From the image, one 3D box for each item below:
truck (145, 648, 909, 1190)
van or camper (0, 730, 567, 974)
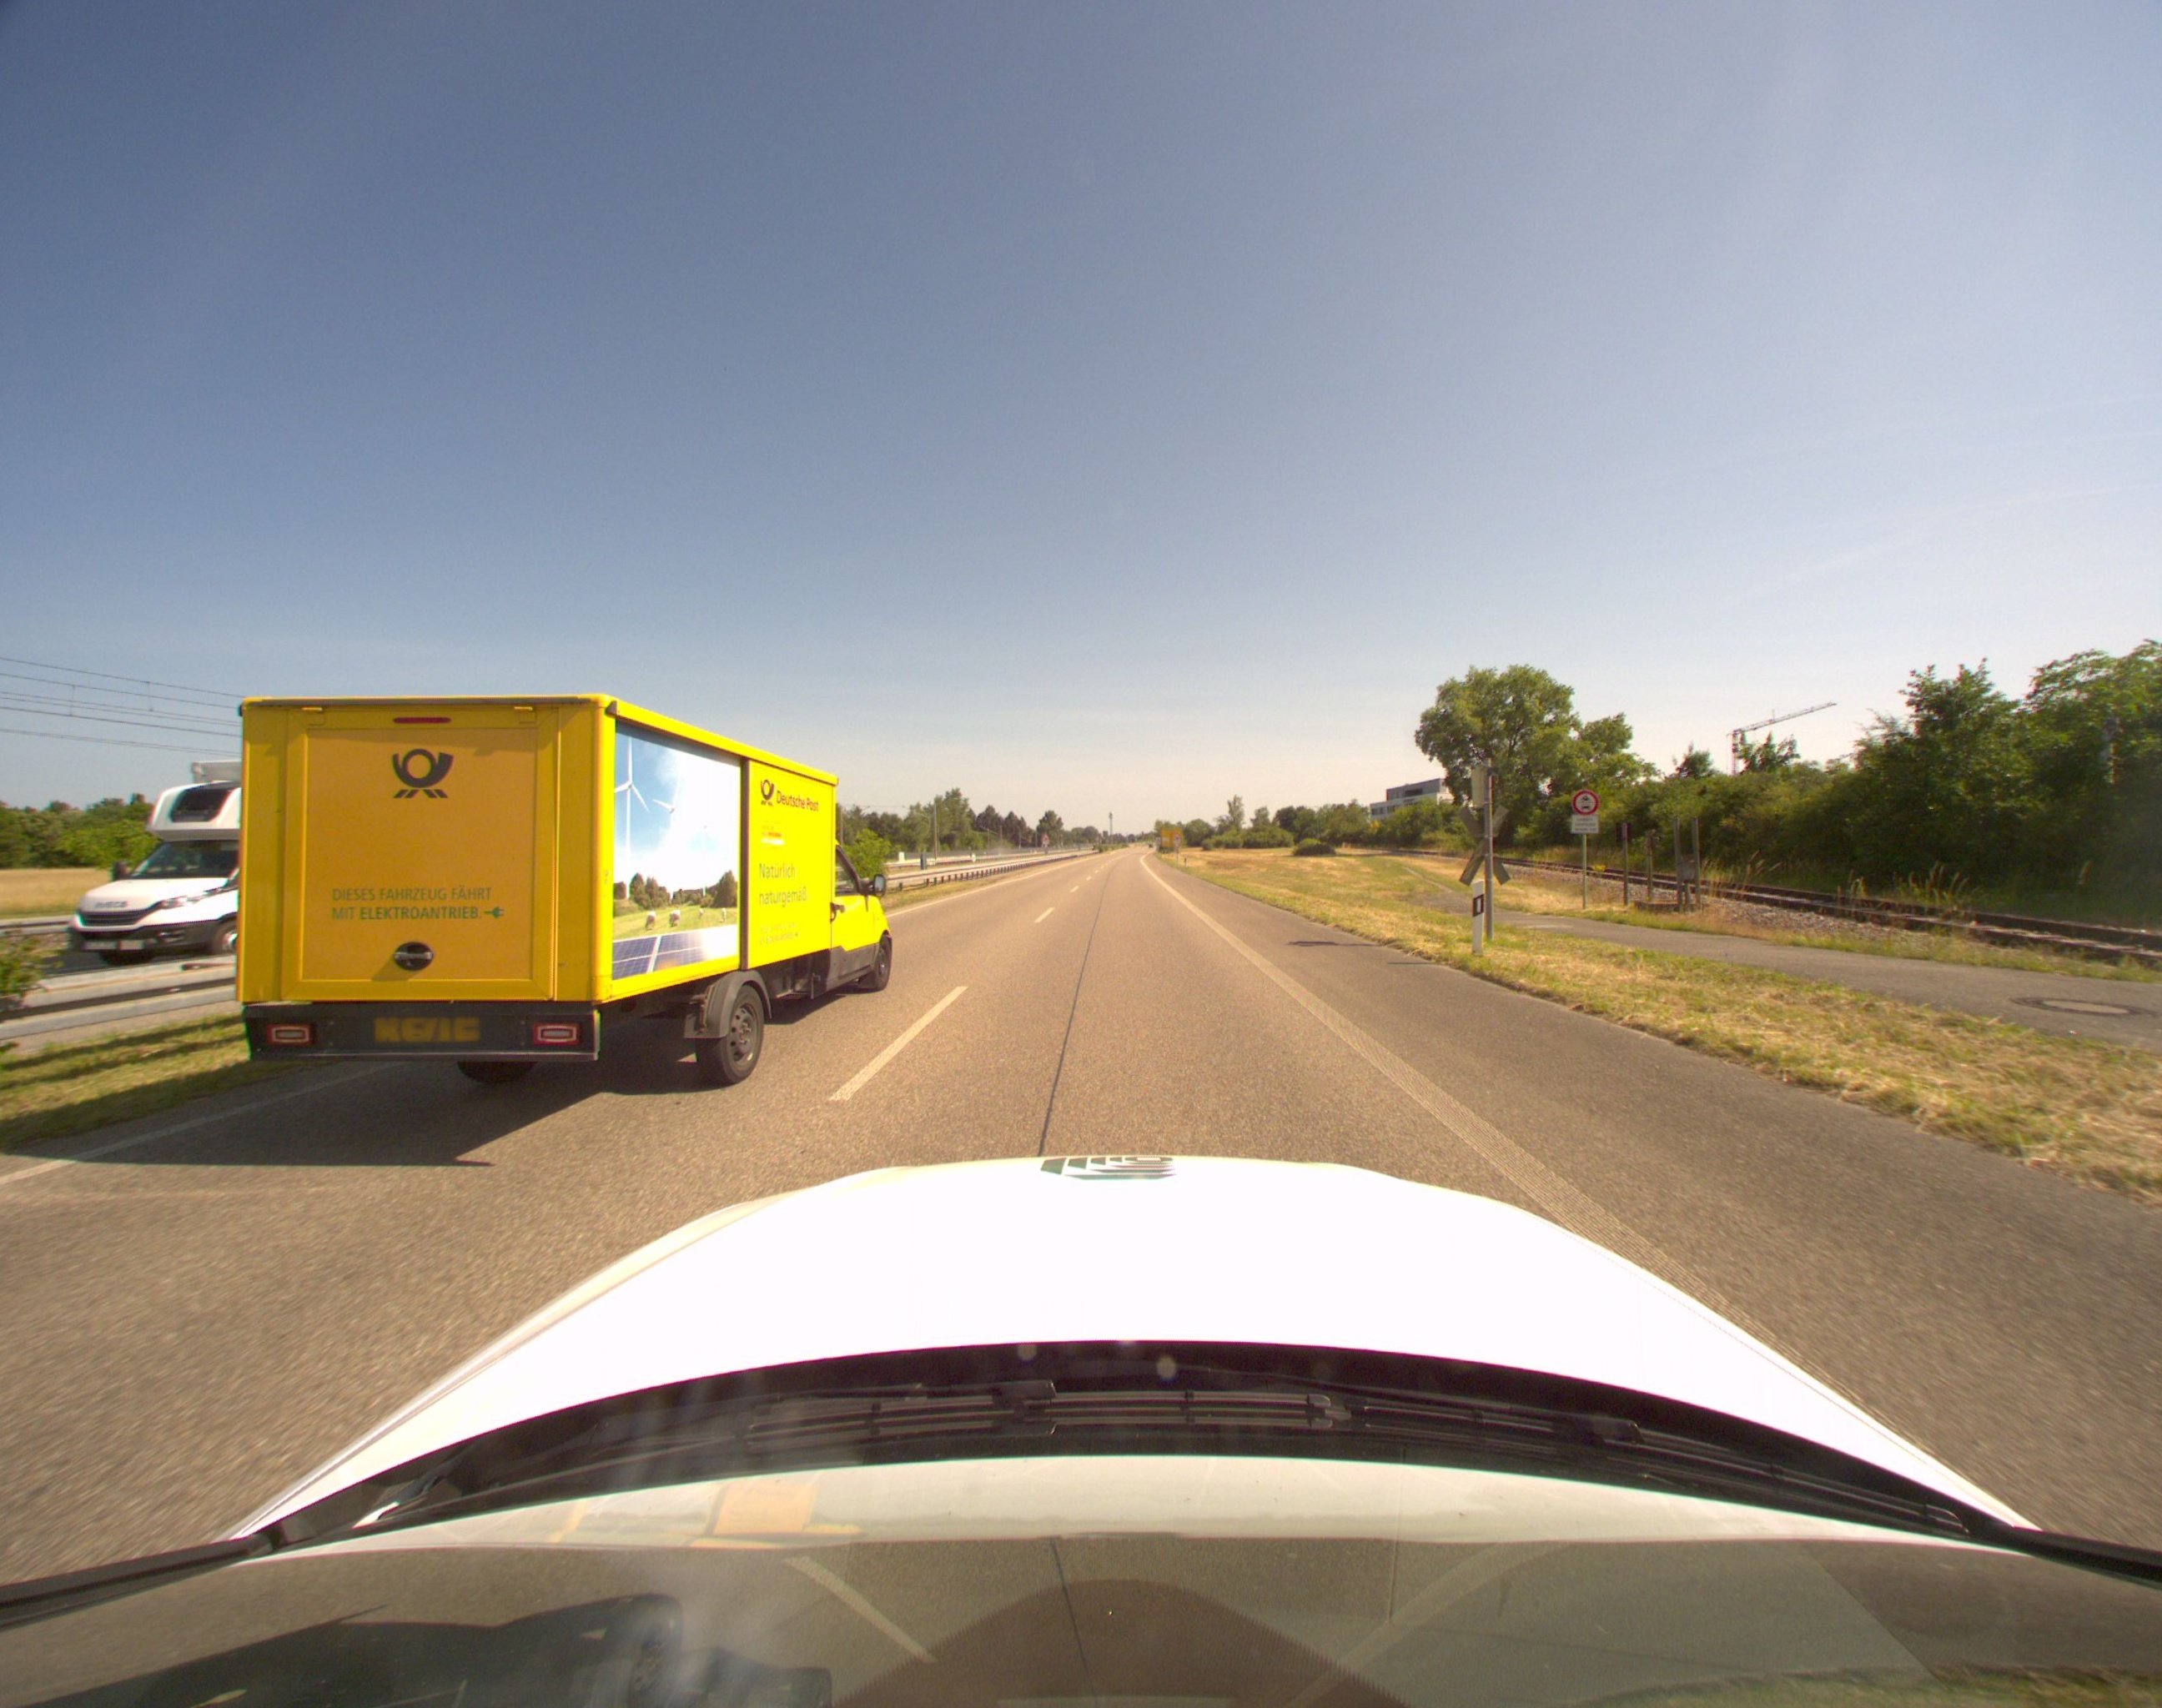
[{"bbox_3d":[-3.154,0.267,6.678,2.104,2.457,5.918,-1,1,1],"label":"truck"},{"bbox_3d":[-15.071,-0.079,16.752,2.863,3.680,8.655,-1,1,5],"label":"van or camper"}]
